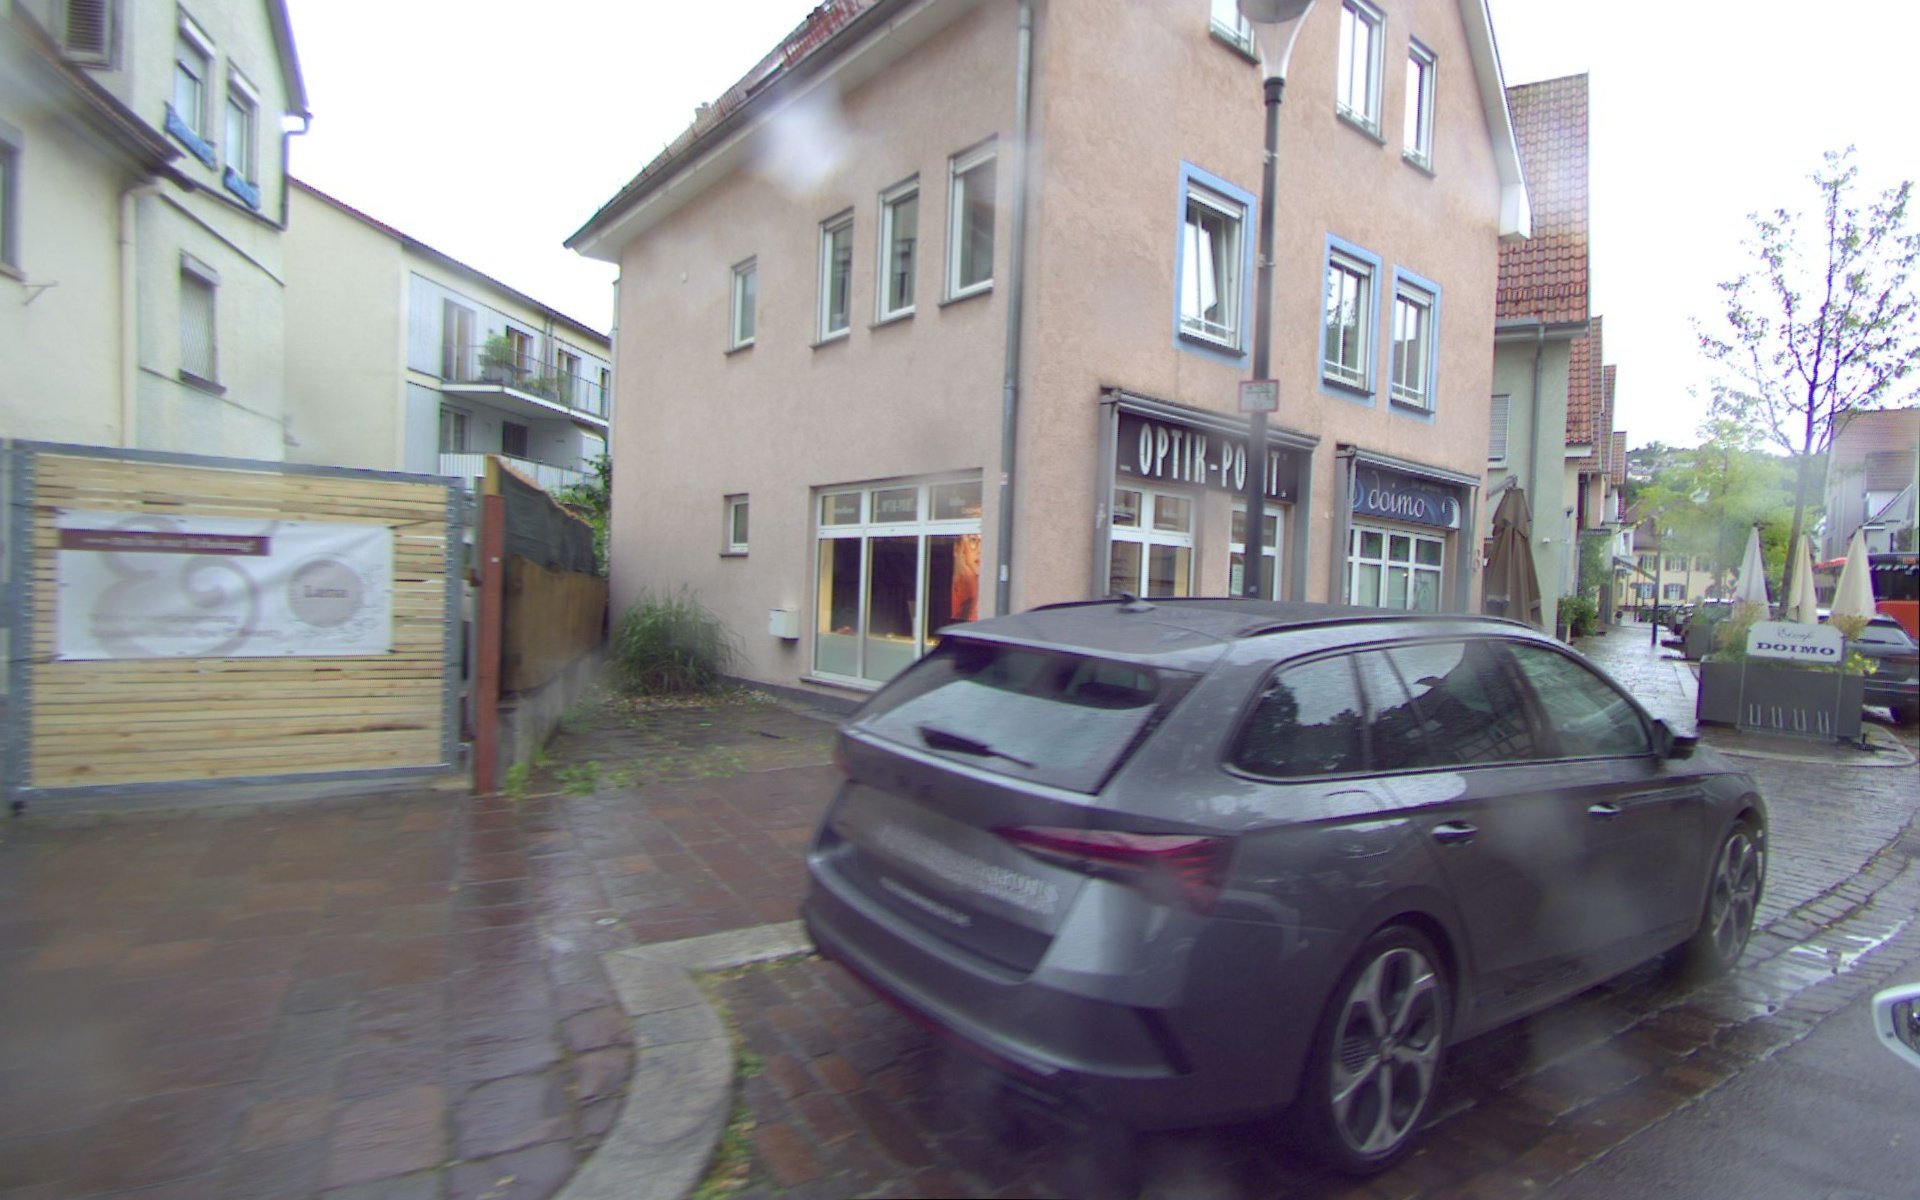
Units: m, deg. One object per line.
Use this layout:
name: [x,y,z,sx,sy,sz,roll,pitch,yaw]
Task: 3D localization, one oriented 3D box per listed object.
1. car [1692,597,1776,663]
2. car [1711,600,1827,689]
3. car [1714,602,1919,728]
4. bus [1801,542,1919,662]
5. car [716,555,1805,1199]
car: [22.580,0.854,29.438,1.748,1.697,4.463,4,1,36]
car: [16.189,0.849,20.246,1.572,1.566,3.963,2,0,36]
car: [12.954,0.848,15.266,1.775,1.452,4.617,5,3,30]
bus: [27.520,0.118,30.195,2.605,3.270,6.584,2,0,34]
car: [1.468,0.701,4.051,4.332,1.474,1.980,2,0,-36]
